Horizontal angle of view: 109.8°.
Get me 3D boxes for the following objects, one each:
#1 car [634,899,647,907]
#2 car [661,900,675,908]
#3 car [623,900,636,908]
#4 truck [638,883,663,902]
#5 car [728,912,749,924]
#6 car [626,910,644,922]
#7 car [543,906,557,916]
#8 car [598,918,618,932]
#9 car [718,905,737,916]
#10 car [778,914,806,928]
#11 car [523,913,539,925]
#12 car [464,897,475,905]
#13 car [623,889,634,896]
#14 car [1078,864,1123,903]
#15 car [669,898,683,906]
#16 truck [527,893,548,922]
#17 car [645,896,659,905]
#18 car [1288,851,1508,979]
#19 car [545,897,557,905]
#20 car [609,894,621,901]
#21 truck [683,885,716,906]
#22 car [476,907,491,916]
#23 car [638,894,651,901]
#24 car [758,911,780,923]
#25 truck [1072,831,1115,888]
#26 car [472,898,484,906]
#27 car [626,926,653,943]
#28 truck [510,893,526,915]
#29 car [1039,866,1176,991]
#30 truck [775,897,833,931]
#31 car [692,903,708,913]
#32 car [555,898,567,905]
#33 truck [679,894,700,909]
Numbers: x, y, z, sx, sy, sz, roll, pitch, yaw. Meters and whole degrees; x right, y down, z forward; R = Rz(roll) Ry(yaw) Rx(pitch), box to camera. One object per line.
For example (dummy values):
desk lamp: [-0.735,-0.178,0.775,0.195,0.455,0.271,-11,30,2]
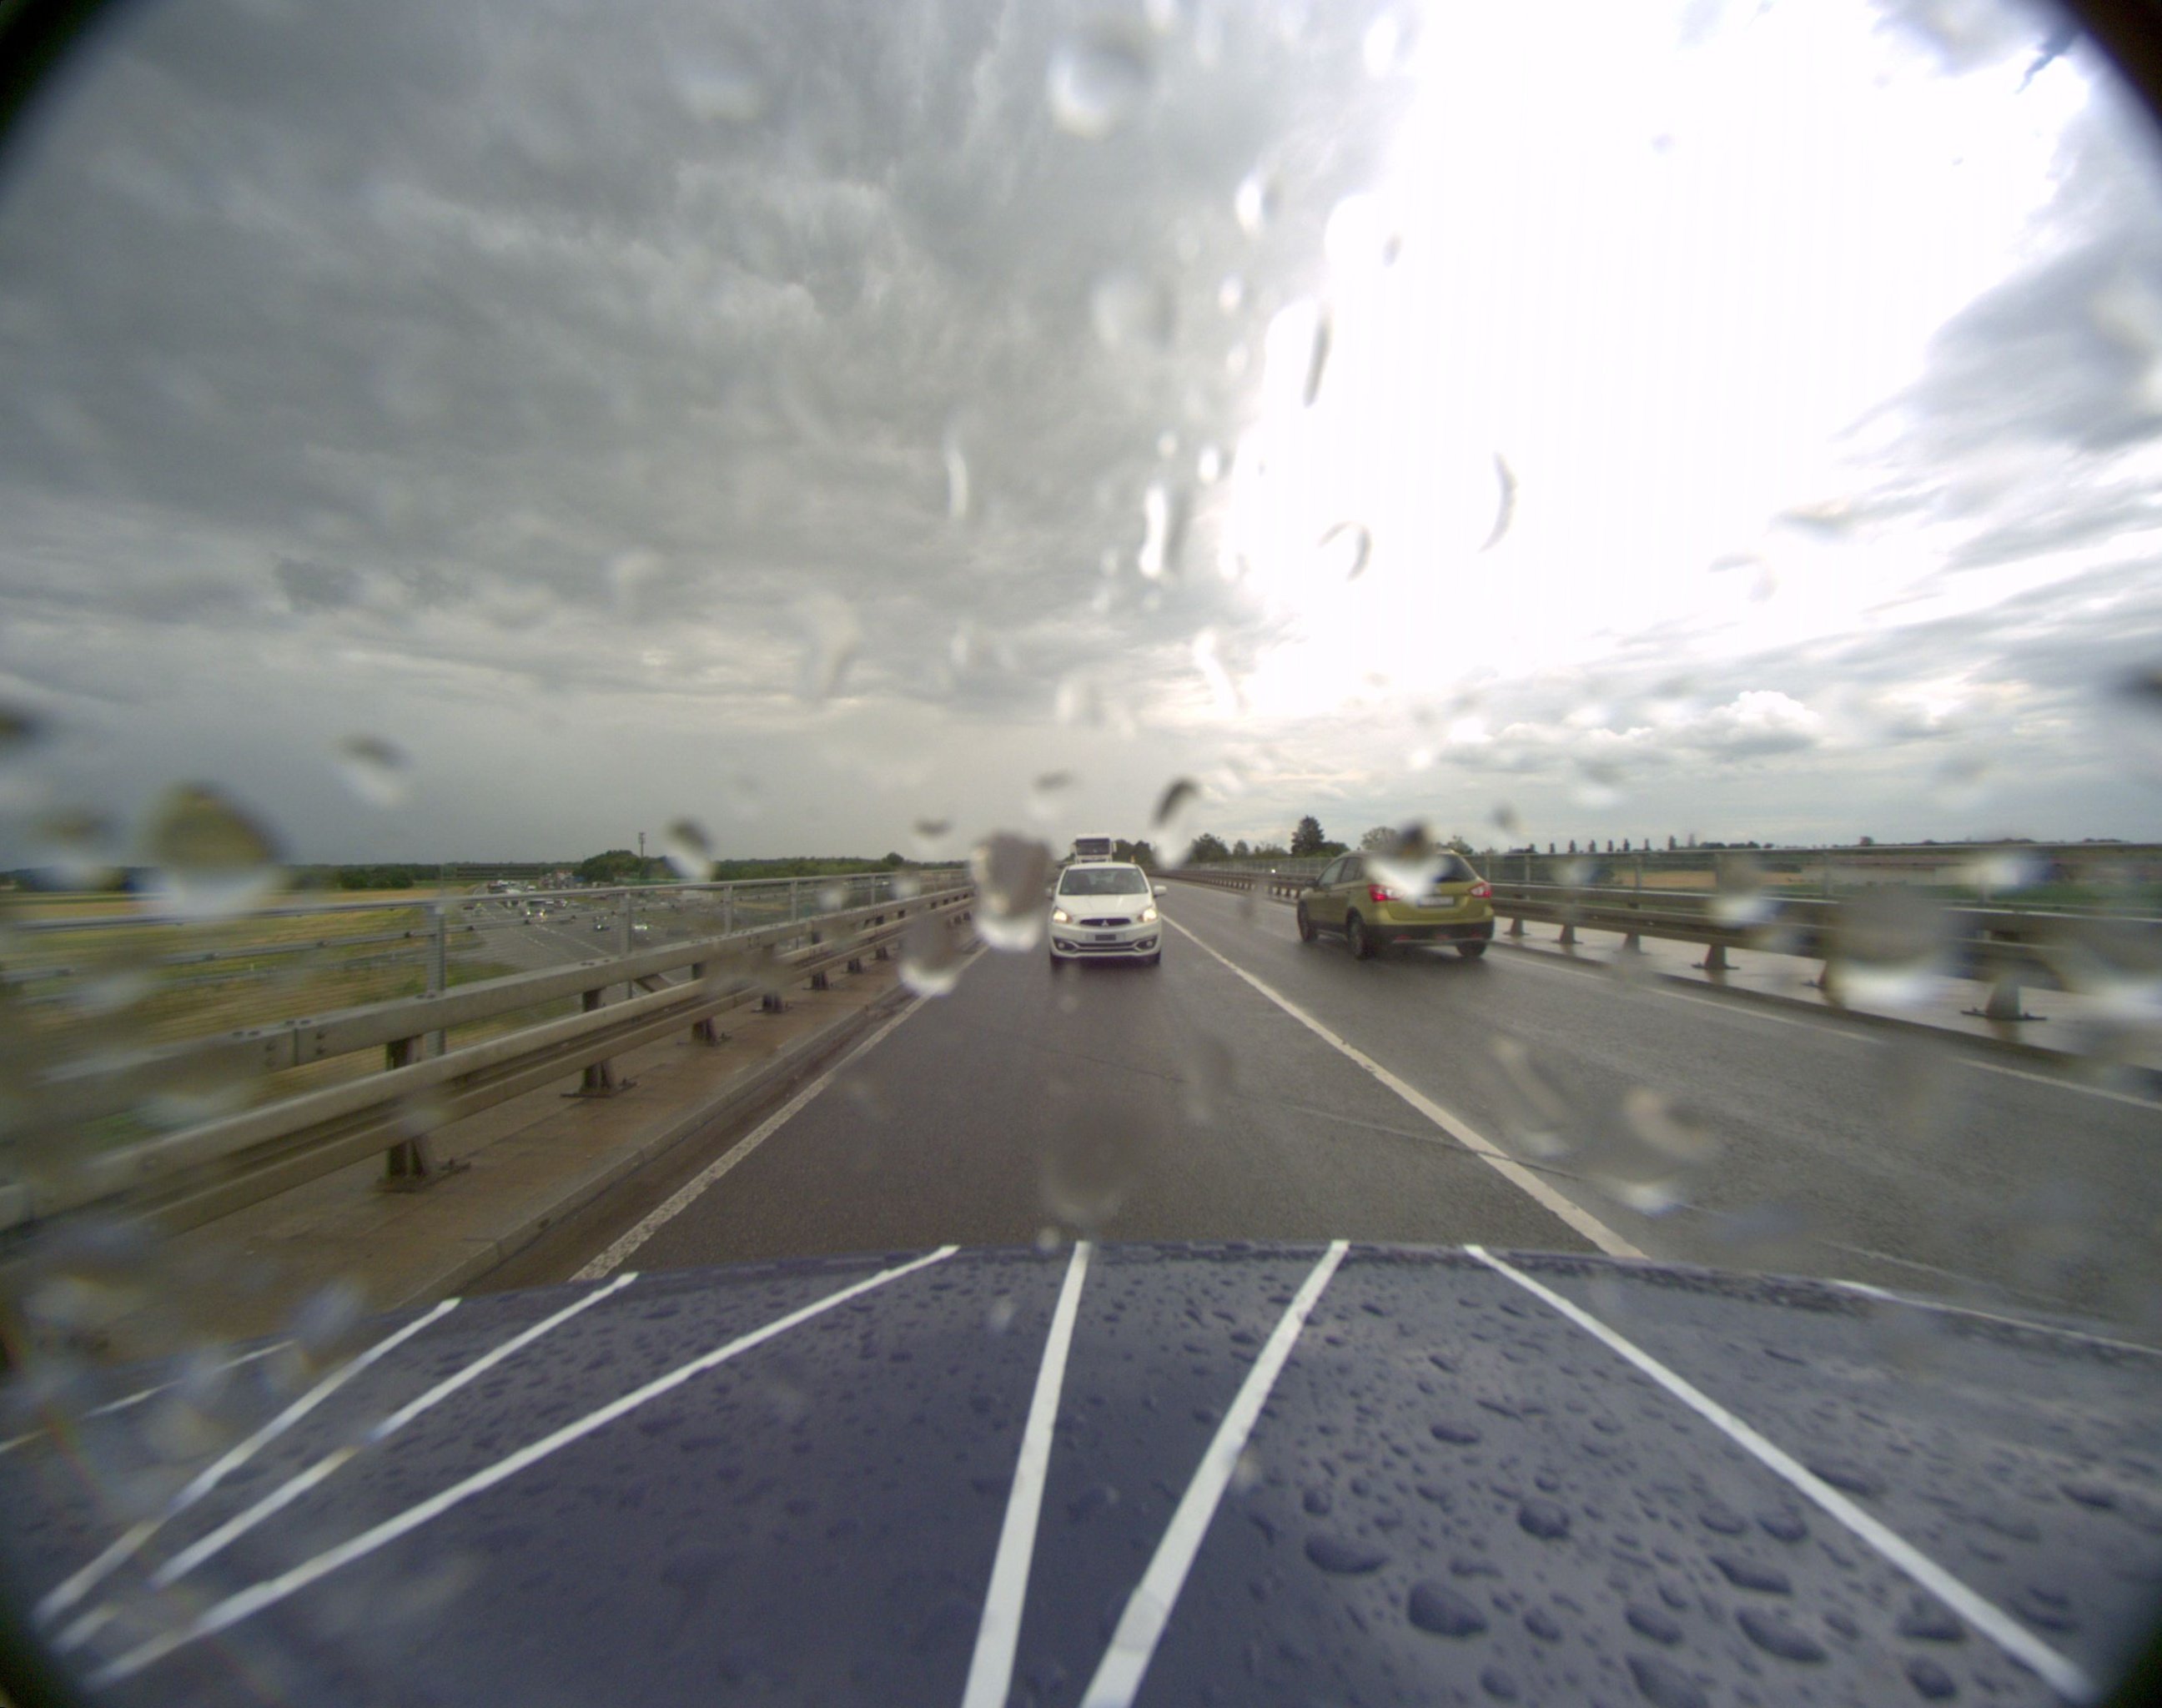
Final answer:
car: [-104.939,11.705,180.999,1.860,1.659,4.712,-2,0,-40]
car: [-93.755,11.395,172.605,1.860,1.659,4.712,-2,0,-40]
car: [-106.710,11.841,179.482,1.860,1.659,4.712,-2,0,-40]
truck: [-127.505,11.328,224.832,3.303,5.134,15.589,-2,0,-41]
car: [-55.022,10.257,122.098,1.860,1.659,4.712,-2,0,-40]
car: [-75.942,10.584,129.452,1.860,1.659,4.712,-2,0,-40]
car: [-110.500,11.872,158.106,1.860,1.659,4.712,-2,0,-40]
car: [-71.353,10.659,114.491,1.860,1.659,4.712,-2,0,-40]
car: [-63.095,10.096,135.626,1.860,1.659,4.712,-2,0,-40]
car: [-39.601,9.132,104.104,1.860,1.659,4.712,-2,0,-42]
car: [-97.150,11.461,134.119,1.860,1.659,4.712,-2,0,-40]
car: [-147.965,11.414,183.791,1.860,1.659,4.712,-2,0,-40]
car: [-123.126,10.500,206.836,1.860,1.764,4.712,-2,0,-40]
car: [0.765,1.148,31.008,1.675,1.366,4.129,-2,0,0]
car: [-97.271,11.515,182.483,1.860,1.659,4.712,-2,0,-40]
truck: [-104.266,10.162,145.688,2.799,4.871,12.725,-2,0,-37]
car: [-92.489,10.073,163.730,1.860,1.659,4.712,-2,0,-40]
car: [4.552,0.770,11.567,1.718,1.508,3.859,-2,1,0]
car: [-130.780,11.558,187.482,1.860,1.659,4.712,-2,0,-40]
car: [-119.417,11.239,194.852,1.860,1.659,4.712,-2,0,-40]
truck: [-91.539,9.871,182.161,3.611,4.510,15.590,-2,0,-39]
car: [-113.913,10.892,144.847,1.818,1.427,4.712,-2,0,-41]
car: [-110.032,10.871,191.589,1.860,1.659,4.712,-2,0,-40]
car: [-49.959,10.093,121.777,1.860,1.659,4.712,-2,0,-40]
truck: [0.795,0.225,52.962,2.631,3.536,8.475,-2,2,0]
car: [-130.519,10.360,164.389,1.860,1.659,4.712,-2,0,-40]
car: [-52.771,9.597,90.769,1.860,1.659,4.712,-2,0,-40]
truck: [-133.711,11.792,180.350,2.799,4.590,12.725,-2,0,-37]
car: [0.351,0.970,11.622,1.675,1.476,4.129,-2,0,0]
truck: [-44.322,9.391,120.962,3.611,4.510,15.590,-2,0,-39]
car: [-75.777,10.685,151.072,1.860,1.659,4.712,-2,0,-40]
car: [-122.950,11.224,179.718,1.860,1.659,4.712,-2,0,-40]
truck: [-86.682,10.426,168.152,2.216,2.948,9.284,-2,0,-40]
